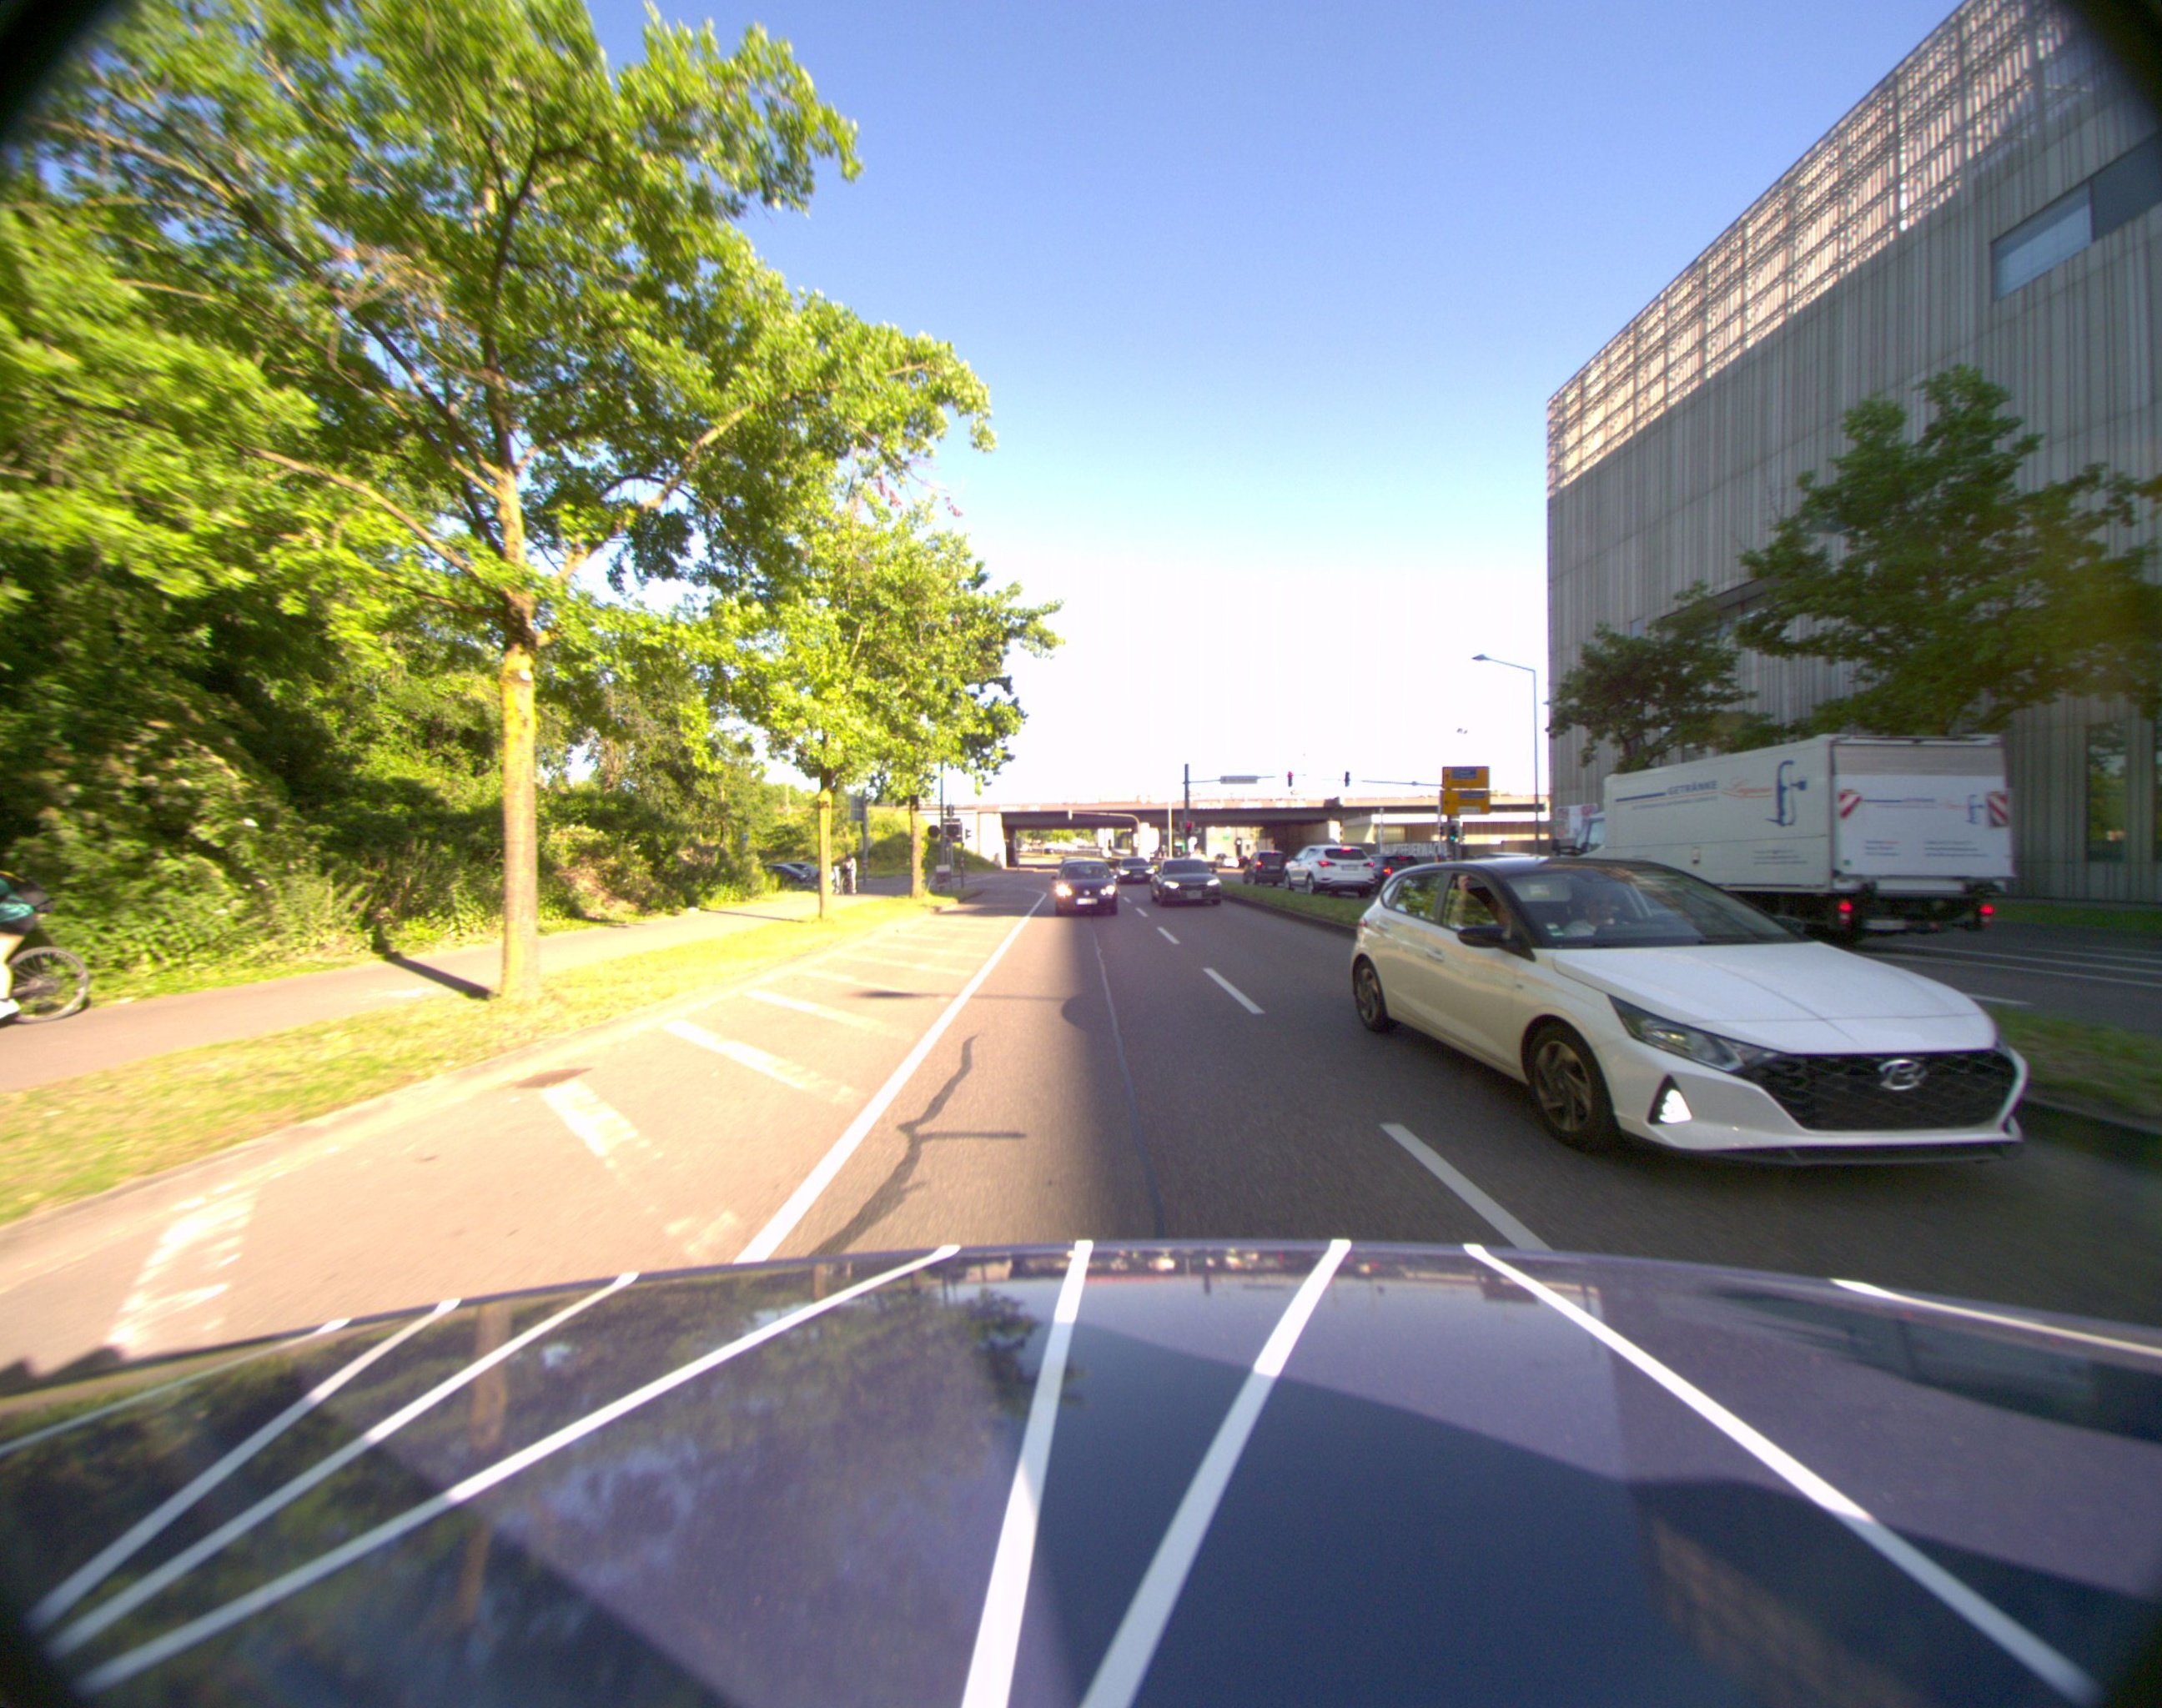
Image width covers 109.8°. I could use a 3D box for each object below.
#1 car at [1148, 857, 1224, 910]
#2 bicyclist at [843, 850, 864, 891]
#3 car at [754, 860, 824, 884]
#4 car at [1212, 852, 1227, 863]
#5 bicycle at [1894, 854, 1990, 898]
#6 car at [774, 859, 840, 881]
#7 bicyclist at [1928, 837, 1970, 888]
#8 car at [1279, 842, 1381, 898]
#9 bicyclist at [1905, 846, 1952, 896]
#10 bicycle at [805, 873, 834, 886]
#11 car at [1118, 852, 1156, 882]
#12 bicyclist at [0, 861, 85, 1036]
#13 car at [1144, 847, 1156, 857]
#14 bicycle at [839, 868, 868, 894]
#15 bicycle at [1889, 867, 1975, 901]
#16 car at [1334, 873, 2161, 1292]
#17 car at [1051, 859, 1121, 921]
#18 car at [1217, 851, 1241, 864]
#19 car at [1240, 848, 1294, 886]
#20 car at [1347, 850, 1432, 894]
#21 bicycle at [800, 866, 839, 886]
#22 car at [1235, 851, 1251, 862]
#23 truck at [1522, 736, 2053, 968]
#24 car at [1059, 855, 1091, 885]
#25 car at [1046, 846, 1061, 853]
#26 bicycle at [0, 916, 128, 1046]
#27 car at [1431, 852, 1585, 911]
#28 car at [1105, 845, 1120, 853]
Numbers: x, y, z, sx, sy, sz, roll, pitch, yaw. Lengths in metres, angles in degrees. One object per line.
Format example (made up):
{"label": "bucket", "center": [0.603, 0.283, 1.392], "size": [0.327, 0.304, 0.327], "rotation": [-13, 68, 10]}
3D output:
{"label": "car", "center": [3.158, 0.846, 23.658], "size": [1.702, 1.396, 4.364], "rotation": [-1, 1, 0]}
{"label": "bicyclist", "center": [-9.186, 0.656, 30.682], "size": [0.566, 1.600, 0.865], "rotation": [-1, 1, 0]}
{"label": "car", "center": [-19.830, 1.195, 51.724], "size": [3.995, 1.467, 1.805], "rotation": [-1, 2, 4]}
{"label": "car", "center": [19.802, 0.452, 108.593], "size": [1.571, 1.524, 3.426], "rotation": [-1, 0, 0]}
{"label": "bicycle", "center": [25.927, 0.622, 22.932], "size": [0.513, 1.262, 2.099], "rotation": [-1, 0, -1]}
{"label": "car", "center": [-19.499, 1.131, 54.229], "size": [3.995, 1.467, 1.817], "rotation": [-1, 2, 5]}
{"label": "bicyclist", "center": [25.926, 0.264, 22.706], "size": [0.508, 1.498, 0.645], "rotation": [-1, 1, -1]}
{"label": "car", "center": [8.214, 0.477, 25.550], "size": [1.828, 1.672, 4.658], "rotation": [1, 1, 0]}
{"label": "bicyclist", "center": [24.606, 0.485, 22.076], "size": [0.509, 1.434, 0.753], "rotation": [-1, 1, -1]}
{"label": "bicycle", "center": [-13.083, 1.282, 37.990], "size": [0.844, 0.618, 2.190], "rotation": [1, -1, -34]}
{"label": "car", "center": [2.967, 0.651, 41.047], "size": [1.702, 1.529, 3.946], "rotation": [-1, 1, 0]}
{"label": "bicyclist", "center": [-9.731, 0.827, 6.623], "size": [0.687, 1.513, 1.035], "rotation": [-1, 1, -3]}
{"label": "car", "center": [11.193, -0.321, 124.051], "size": [1.632, 1.531, 4.000], "rotation": [1, 1, 1]}
{"label": "bicycle", "center": [-9.229, 1.077, 30.916], "size": [0.573, 0.986, 2.046], "rotation": [-1, 0, 0]}
{"label": "bicycle", "center": [24.610, 0.850, 22.027], "size": [0.513, 0.885, 1.754], "rotation": [-1, 0, -1]}
{"label": "car", "center": [3.224, 0.902, 4.874], "size": [1.783, 1.400, 4.074], "rotation": [-2, 0, -1]}
{"label": "car", "center": [0.114, 0.916, 20.983], "size": [1.702, 1.474, 4.052], "rotation": [-2, 0, 0]}
{"label": "car", "center": [17.224, 0.350, 88.615], "size": [1.707, 1.433, 4.880], "rotation": [0, 1, 0]}
{"label": "car", "center": [8.125, 0.519, 33.363], "size": [1.605, 1.571, 3.212], "rotation": [0, 1, 1]}
{"label": "car", "center": [11.118, 0.612, 27.659], "size": [1.624, 1.461, 3.639], "rotation": [1, 0, 0]}
{"label": "bicycle", "center": [-13.994, 1.171, 40.602], "size": [1.993, 1.047, 0.455], "rotation": [-1, 1, 12]}
{"label": "car", "center": [20.293, 0.285, 95.264], "size": [1.493, 1.403, 3.939], "rotation": [0, 1, 5]}
{"label": "truck", "center": [11.172, -0.050, 13.369], "size": [2.693, 2.944, 7.113], "rotation": [1, 0, 1]}
{"label": "car", "center": [-0.330, 0.846, 41.898], "size": [1.702, 1.478, 3.946], "rotation": [-1, 1, 0]}
{"label": "car", "center": [-6.261, -1.020, 174.691], "size": [1.818, 1.687, 3.991], "rotation": [-3, 1, -27]}
{"label": "bicycle", "center": [-9.748, 1.160, 6.606], "size": [0.517, 1.066, 1.935], "rotation": [-1, 1, -3]}
{"label": "car", "center": [11.209, 0.671, 20.286], "size": [1.840, 1.415, 4.000], "rotation": [0, 0, 0]}
{"label": "car", "center": [6.127, -1.055, 147.988], "size": [1.730, 1.531, 3.993], "rotation": [1, 1, -17]}
